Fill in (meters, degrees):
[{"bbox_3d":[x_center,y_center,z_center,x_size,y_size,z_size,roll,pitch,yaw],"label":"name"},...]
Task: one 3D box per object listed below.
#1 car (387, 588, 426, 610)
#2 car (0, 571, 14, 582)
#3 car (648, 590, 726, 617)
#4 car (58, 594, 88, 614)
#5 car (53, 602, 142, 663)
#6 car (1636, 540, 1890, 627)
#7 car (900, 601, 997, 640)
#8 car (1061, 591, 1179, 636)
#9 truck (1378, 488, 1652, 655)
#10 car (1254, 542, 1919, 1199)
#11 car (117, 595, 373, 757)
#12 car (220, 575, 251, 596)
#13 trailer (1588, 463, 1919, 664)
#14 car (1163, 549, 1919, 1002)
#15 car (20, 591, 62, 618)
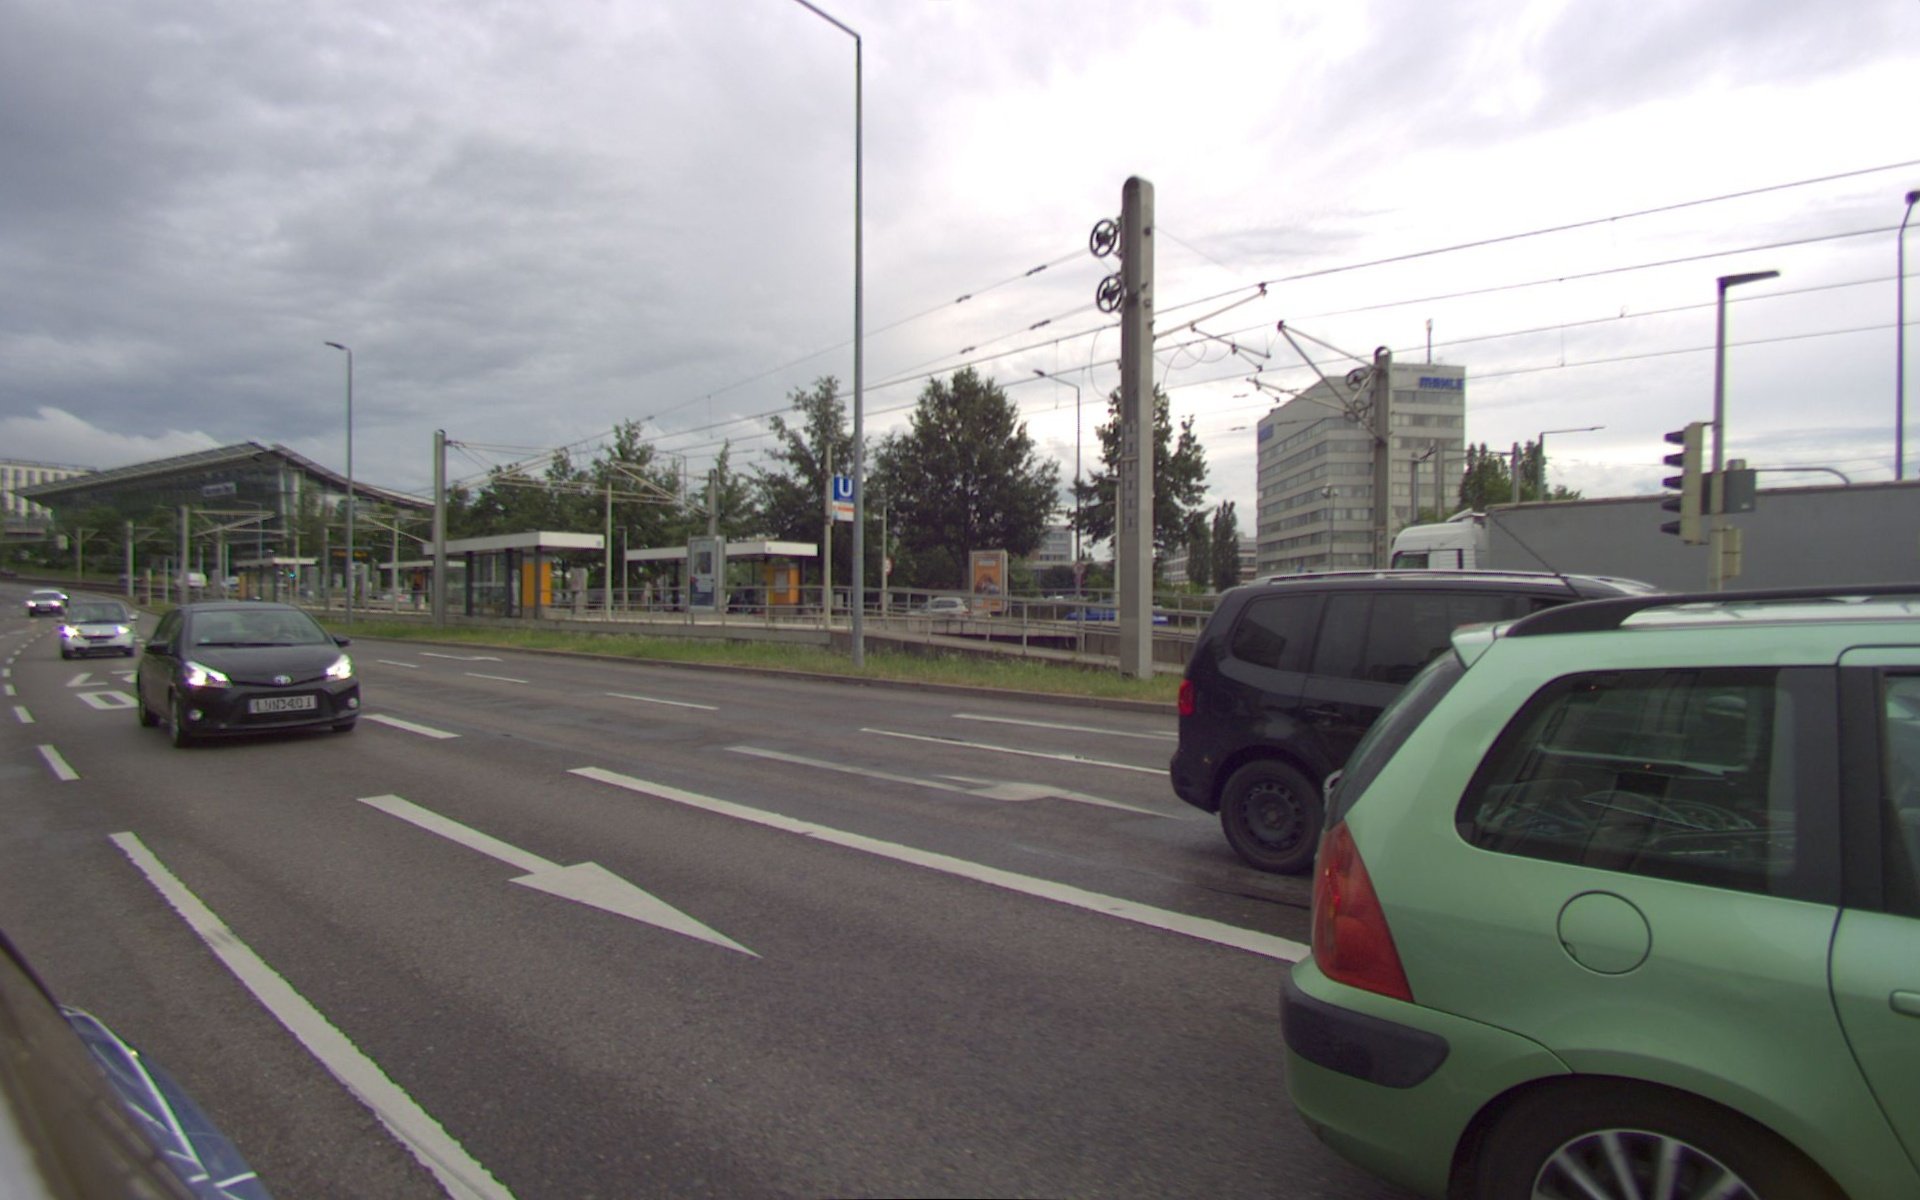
[{"bbox_3d":[-44.680,-0.105,81.681,4.271,1.679,1.511,1,3,44],"label":"car"},{"bbox_3d":[-157.332,-3.889,166.506,3.999,1.861,1.973,1,3,42],"label":"car"},{"bbox_3d":[-14.194,0.144,52.504,4.414,1.273,1.887,1,3,43],"label":"car"},{"bbox_3d":[-74.155,0.316,84.623,1.675,1.534,3.833,-1,2,-38],"label":"car"},{"bbox_3d":[-23.987,0.852,28.101,1.715,1.489,4.005,-2,2,-42],"label":"car"},{"bbox_3d":[16.975,-0.381,21.524,4.096,1.664,1.866,1,3,44],"label":"car"},{"bbox_3d":[-0.546,0.834,43.693,4.153,1.473,1.720,1,3,43],"label":"car"},{"bbox_3d":[6.413,0.491,40.848,4.316,1.640,1.974,1,3,40],"label":"car"},{"bbox_3d":[14.887,-0.661,27.424,5.989,4.026,2.800,-1,-1,45],"label":"truck"},{"bbox_3d":[2.900,0.624,1.587,4.394,1.479,1.680,0,2,36],"label":"car"},{"bbox_3d":[-8.365,0.755,11.713,3.905,1.534,1.674,-1,0,43],"label":"car"},{"bbox_3d":[-81.819,-1.633,114.277,5.146,2.230,1.971,1,3,45],"label":"car"},{"bbox_3d":[20.563,-0.735,21.982,11.443,4.138,2.764,-1,-1,43],"label":"trailer"},{"bbox_3d":[3.251,0.590,4.946,1.707,1.604,4.196,-3,2,-44],"label":"car"},{"bbox_3d":[-63.159,0.273,69.624,1.801,1.723,4.162,-2,2,-39],"label":"car"}]
